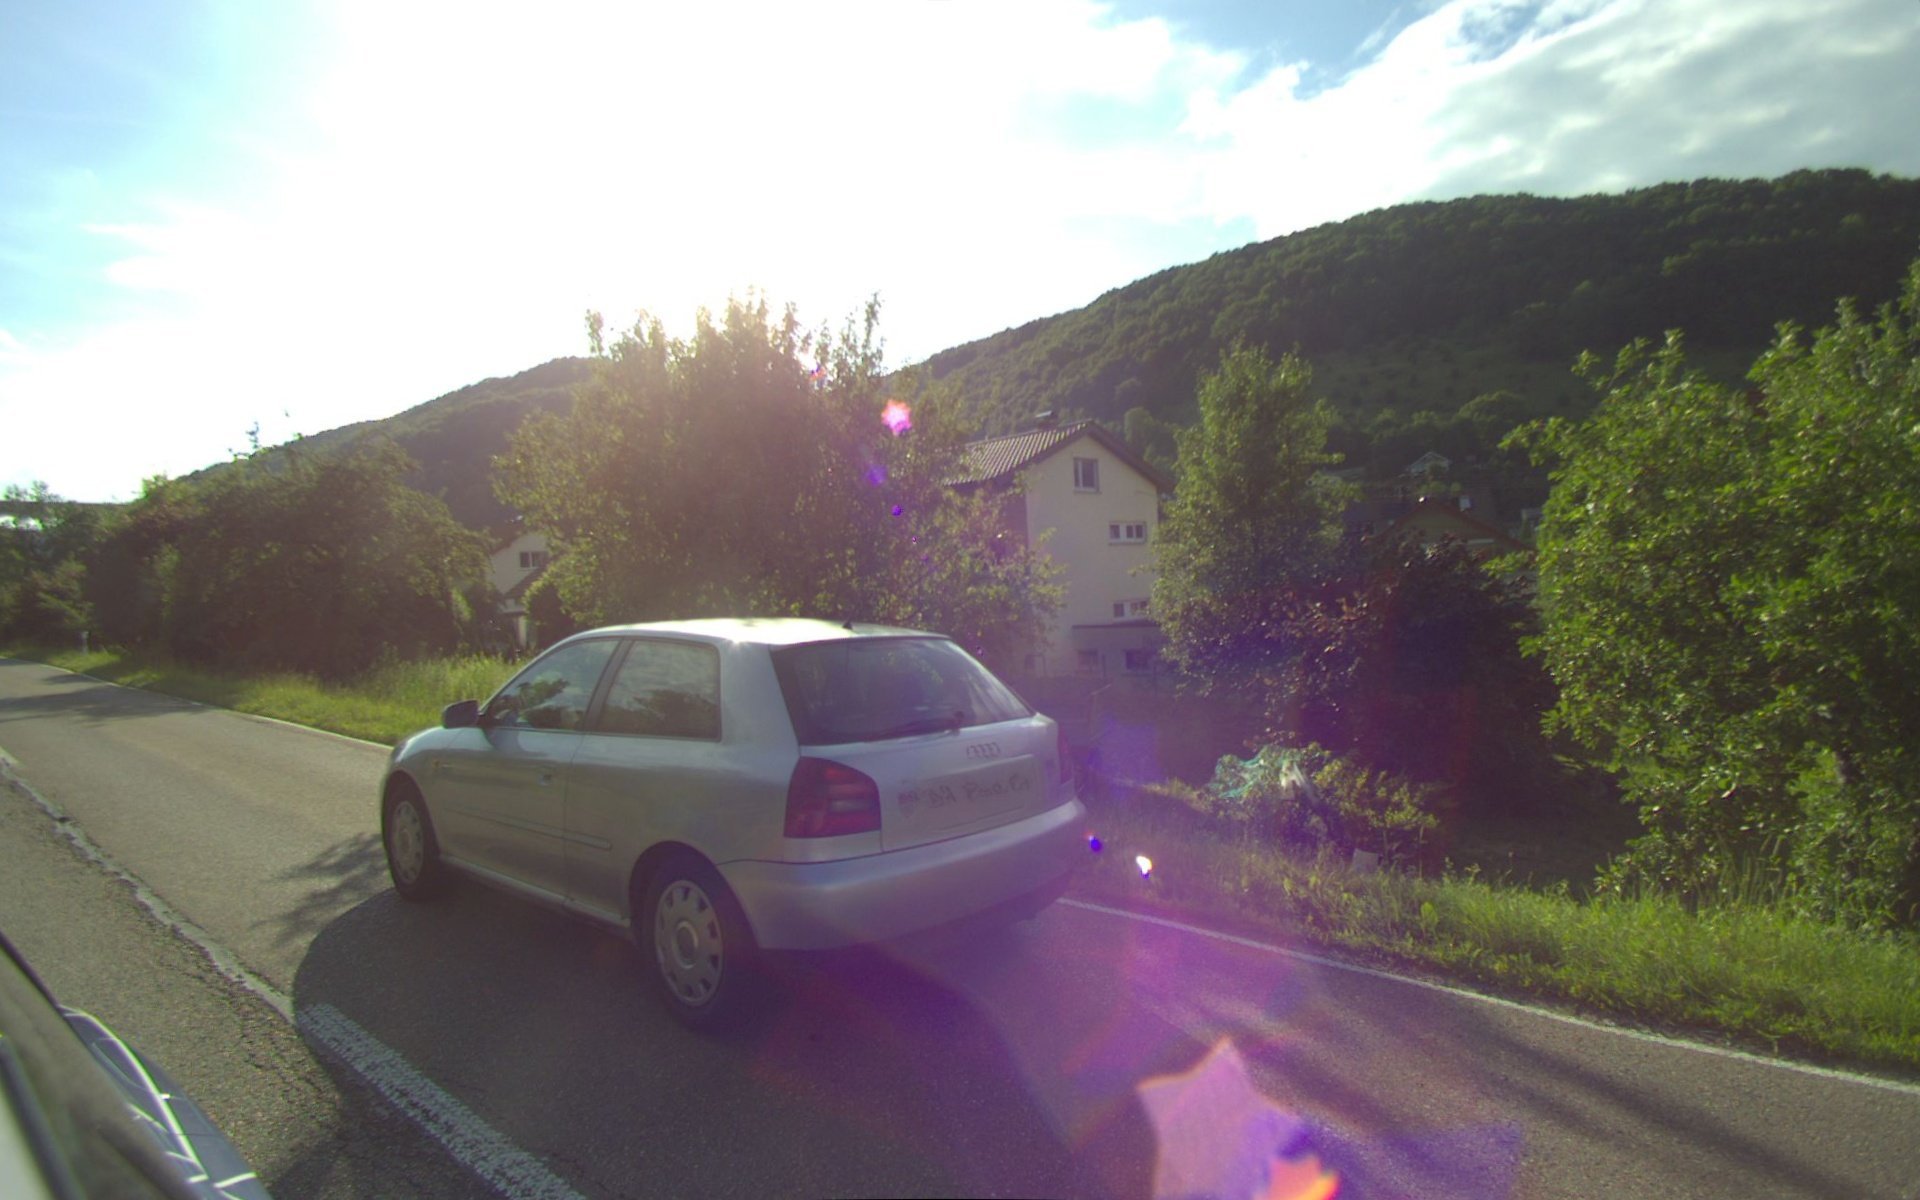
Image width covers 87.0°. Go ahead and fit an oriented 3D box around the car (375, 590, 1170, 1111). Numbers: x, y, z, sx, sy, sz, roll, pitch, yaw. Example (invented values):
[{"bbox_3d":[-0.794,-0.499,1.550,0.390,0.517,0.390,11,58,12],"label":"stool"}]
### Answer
[{"bbox_3d":[-1.086,0.716,4.618,3.662,1.420,1.674,-1,-1,41],"label":"car"}]
